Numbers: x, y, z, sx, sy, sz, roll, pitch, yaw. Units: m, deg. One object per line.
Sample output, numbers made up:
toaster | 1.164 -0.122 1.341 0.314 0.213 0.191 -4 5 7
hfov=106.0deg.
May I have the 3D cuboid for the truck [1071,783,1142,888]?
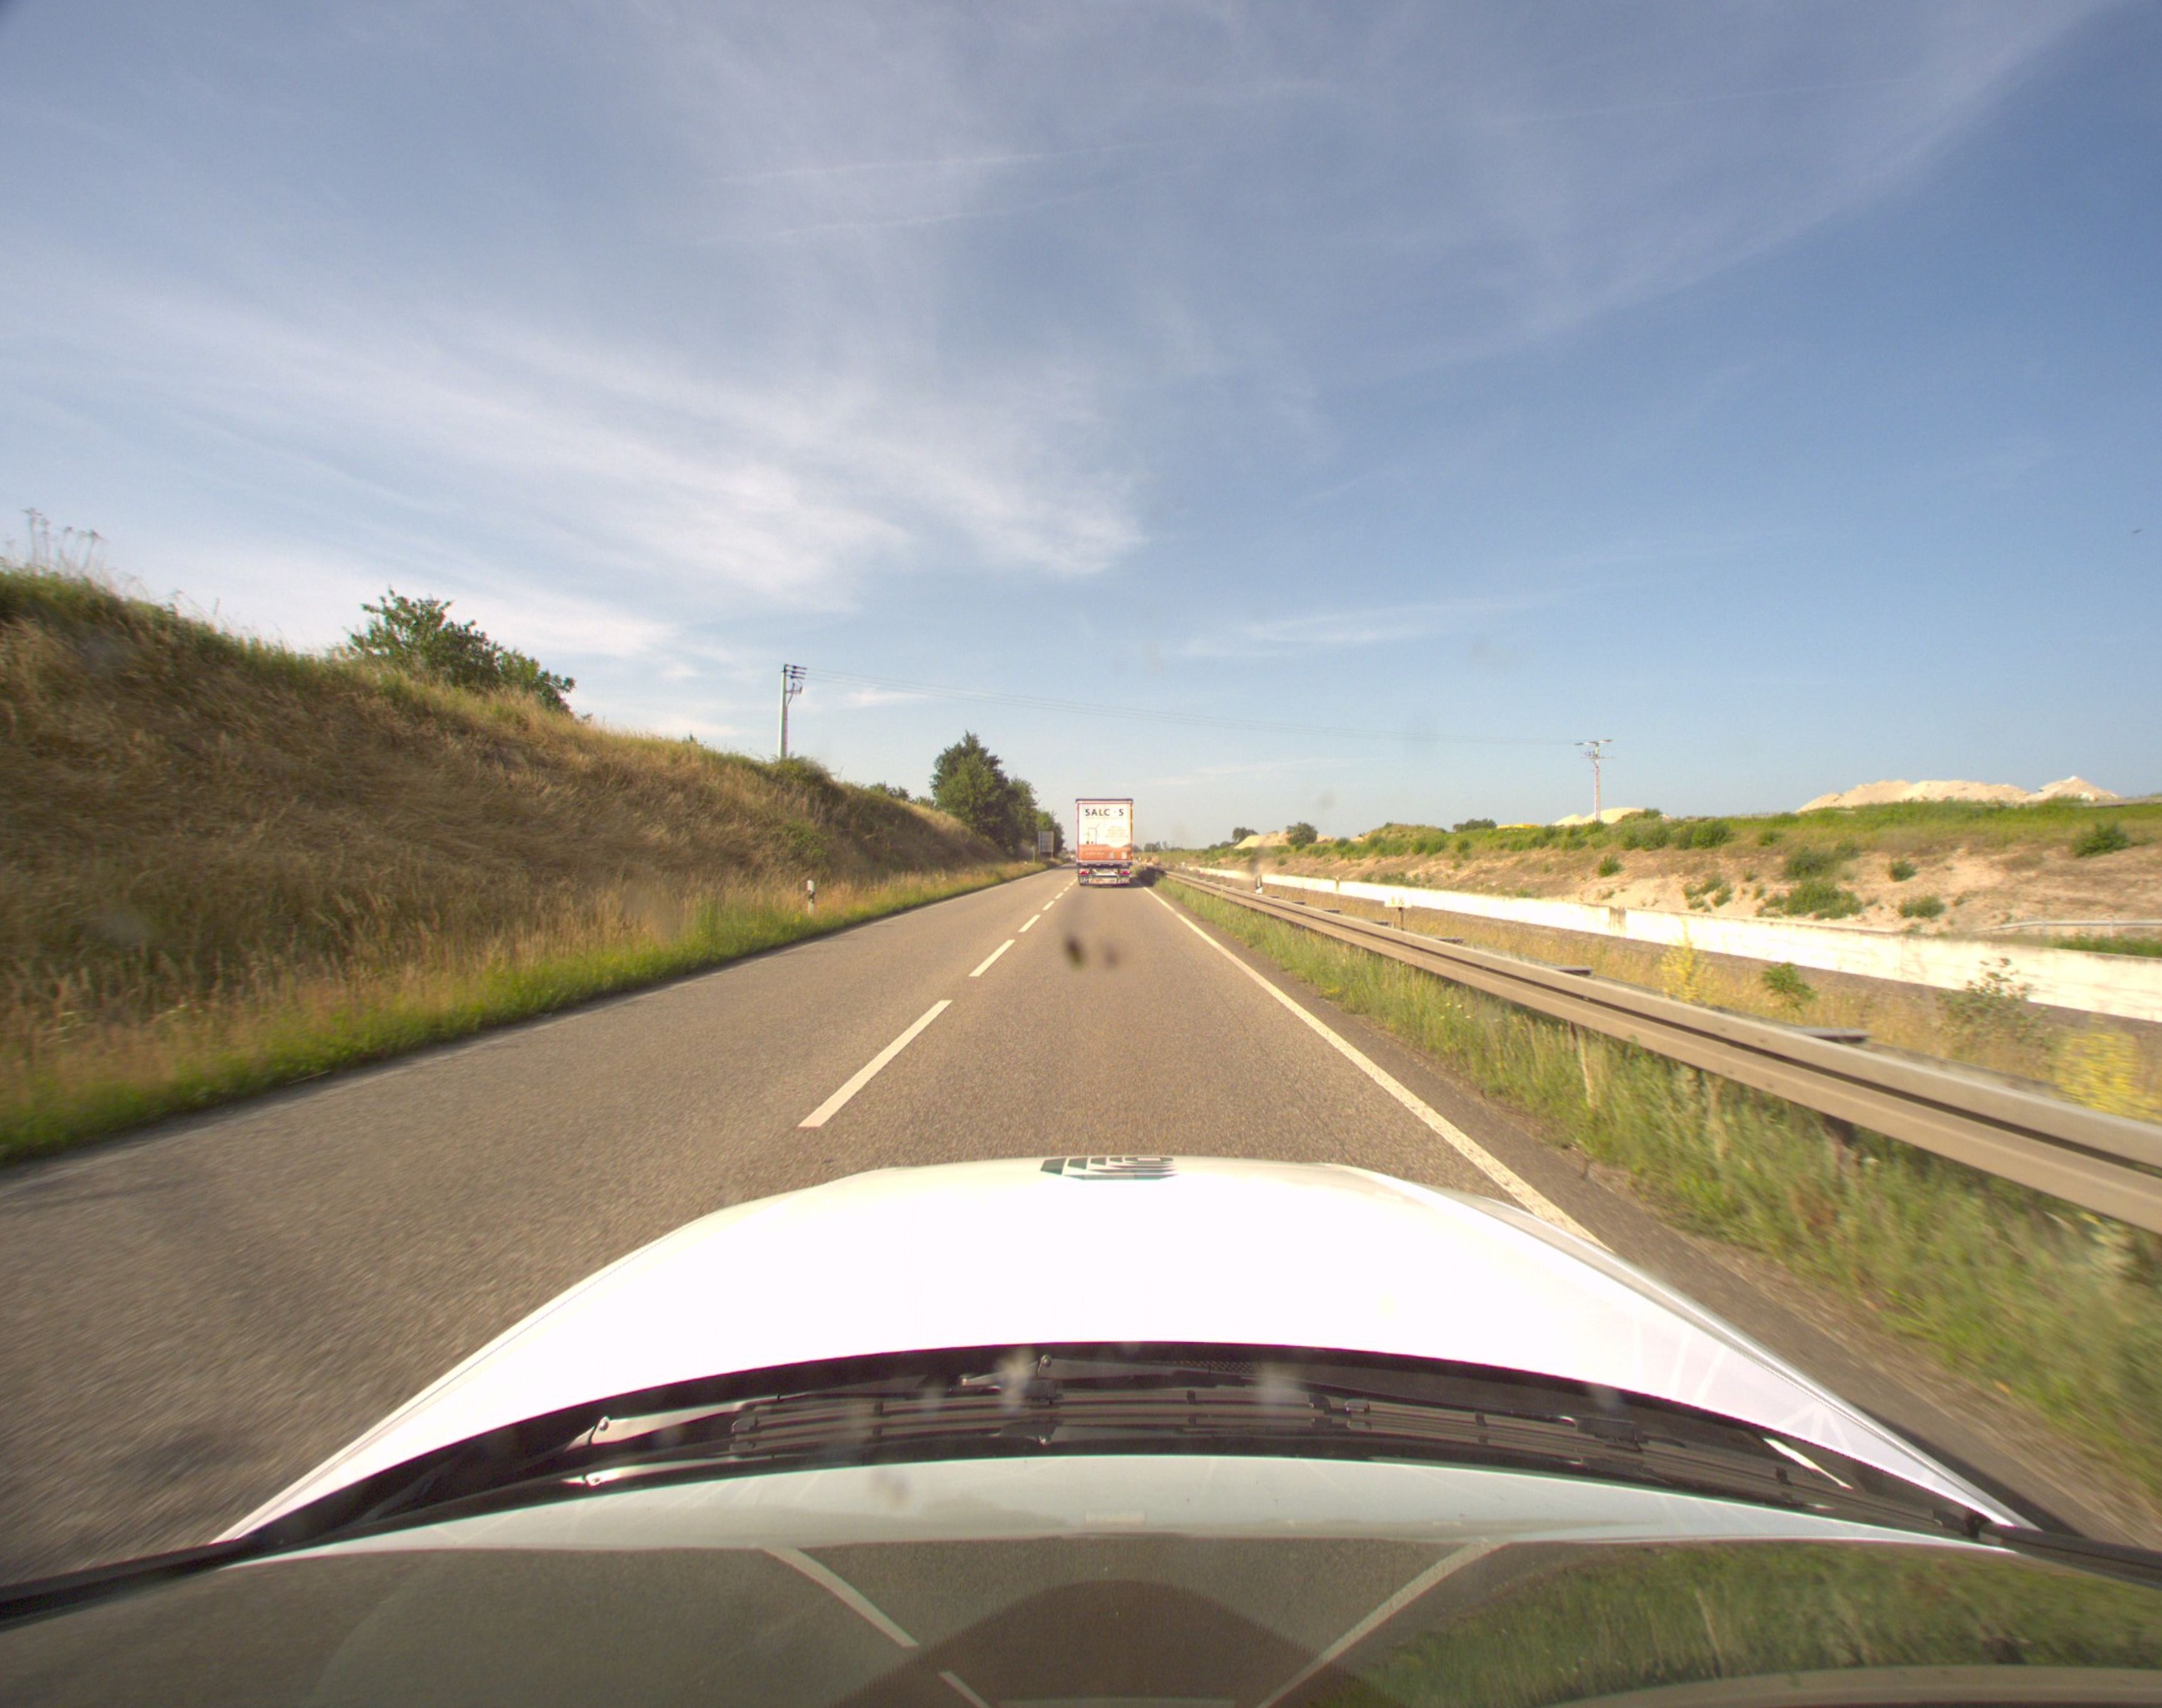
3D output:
truck | 1.150 -0.828 40.943 3.143 4.688 8.439 -1 0 0
